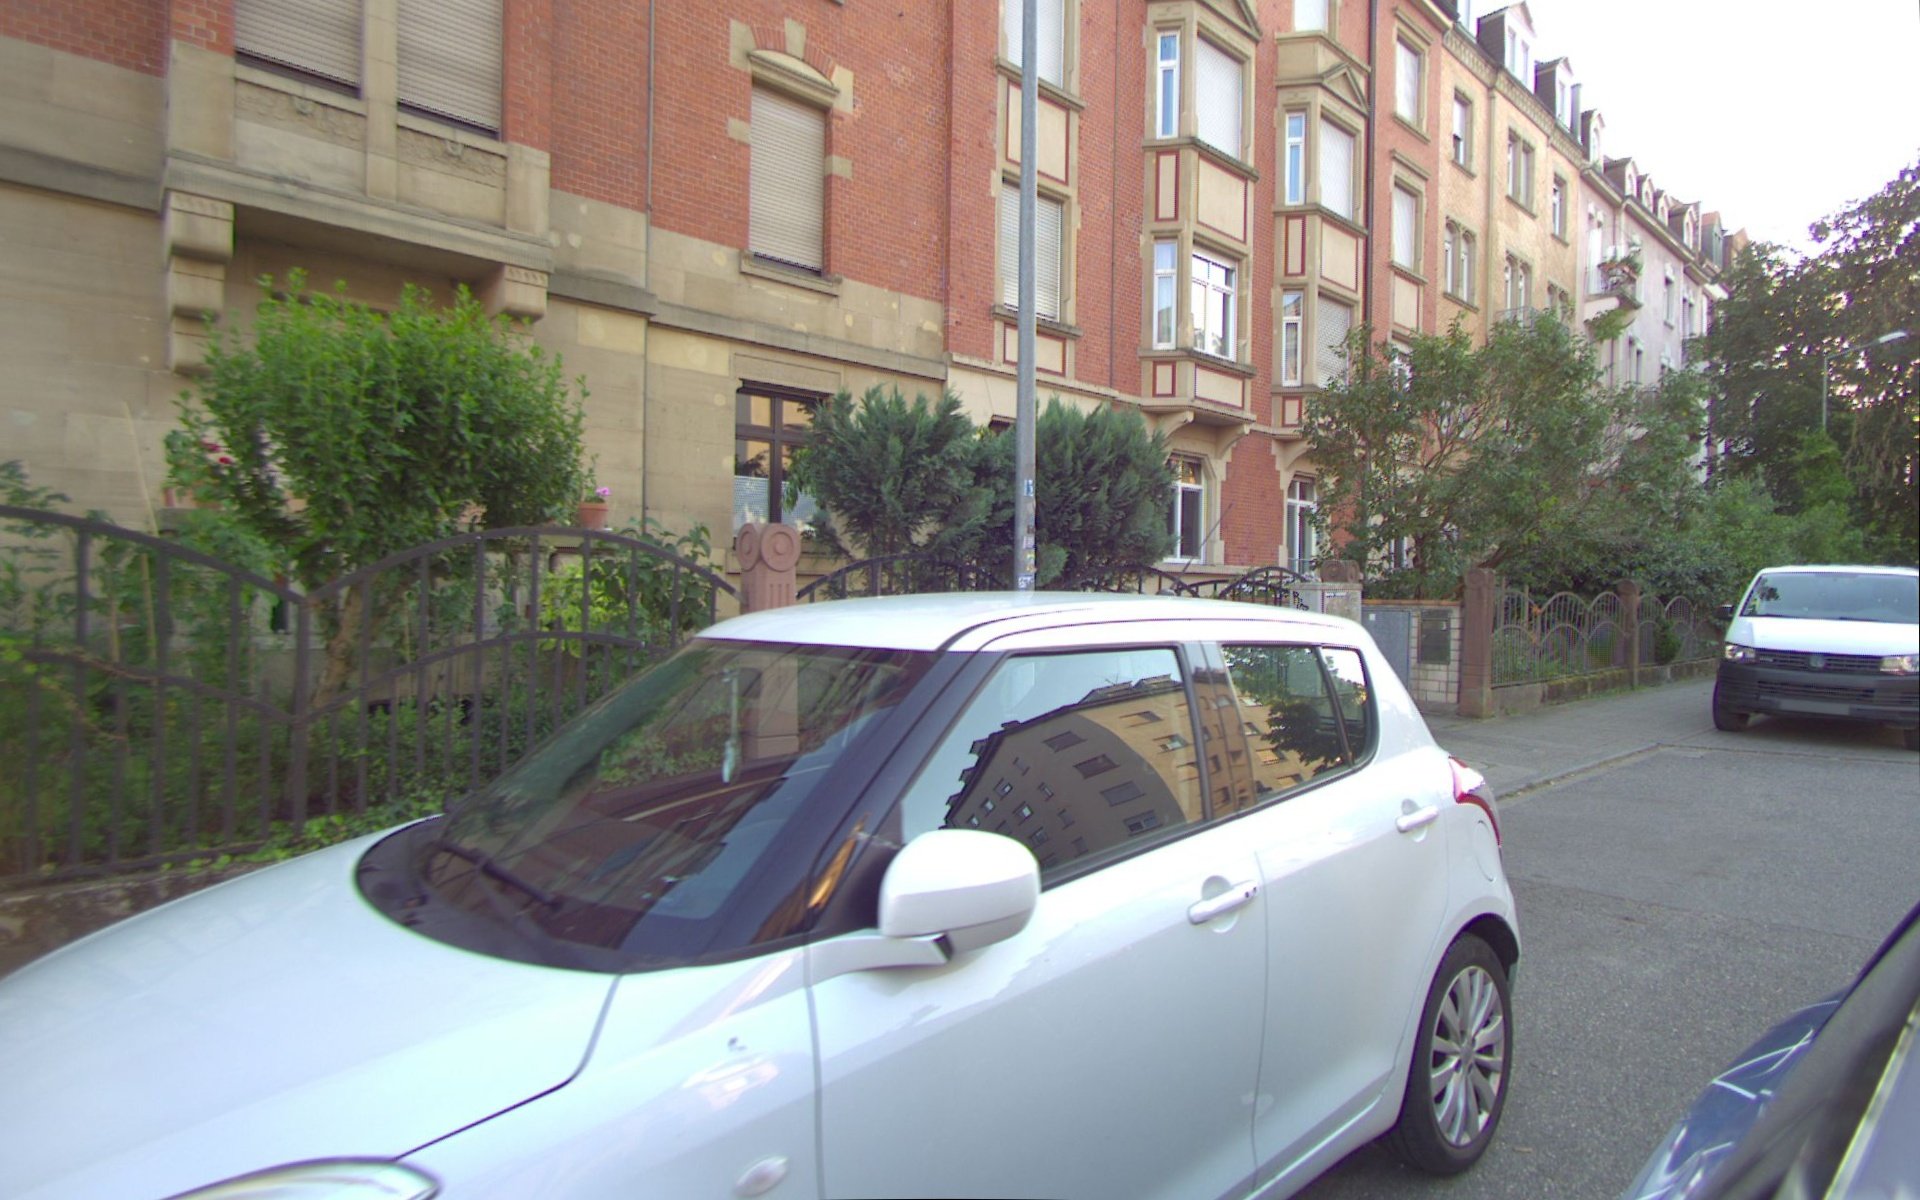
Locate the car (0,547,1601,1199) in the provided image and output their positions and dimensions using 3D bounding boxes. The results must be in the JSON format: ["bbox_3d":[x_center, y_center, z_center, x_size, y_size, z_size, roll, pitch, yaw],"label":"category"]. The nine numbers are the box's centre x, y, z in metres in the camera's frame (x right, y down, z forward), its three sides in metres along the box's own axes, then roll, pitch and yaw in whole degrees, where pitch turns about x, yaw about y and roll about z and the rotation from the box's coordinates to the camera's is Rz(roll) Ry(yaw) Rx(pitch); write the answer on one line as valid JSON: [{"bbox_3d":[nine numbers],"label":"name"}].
[{"bbox_3d":[-0.079,0.692,2.468,3.792,1.495,1.678,0,0,-39],"label":"car"}]

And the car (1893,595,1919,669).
[{"bbox_3d":[22.959,0.685,23.146,4.755,1.602,1.760,0,0,-40],"label":"car"}]

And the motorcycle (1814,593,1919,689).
[{"bbox_3d":[16.020,0.692,17.102,2.065,1.500,1.128,2,2,16],"label":"motorcycle"}]

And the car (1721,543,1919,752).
[{"bbox_3d":[11.115,0.434,12.406,5.451,2.064,1.864,0,3,-43],"label":"car"}]

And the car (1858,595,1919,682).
[{"bbox_3d":[19.080,0.700,19.740,4.248,1.570,1.723,0,0,-40],"label":"car"}]
